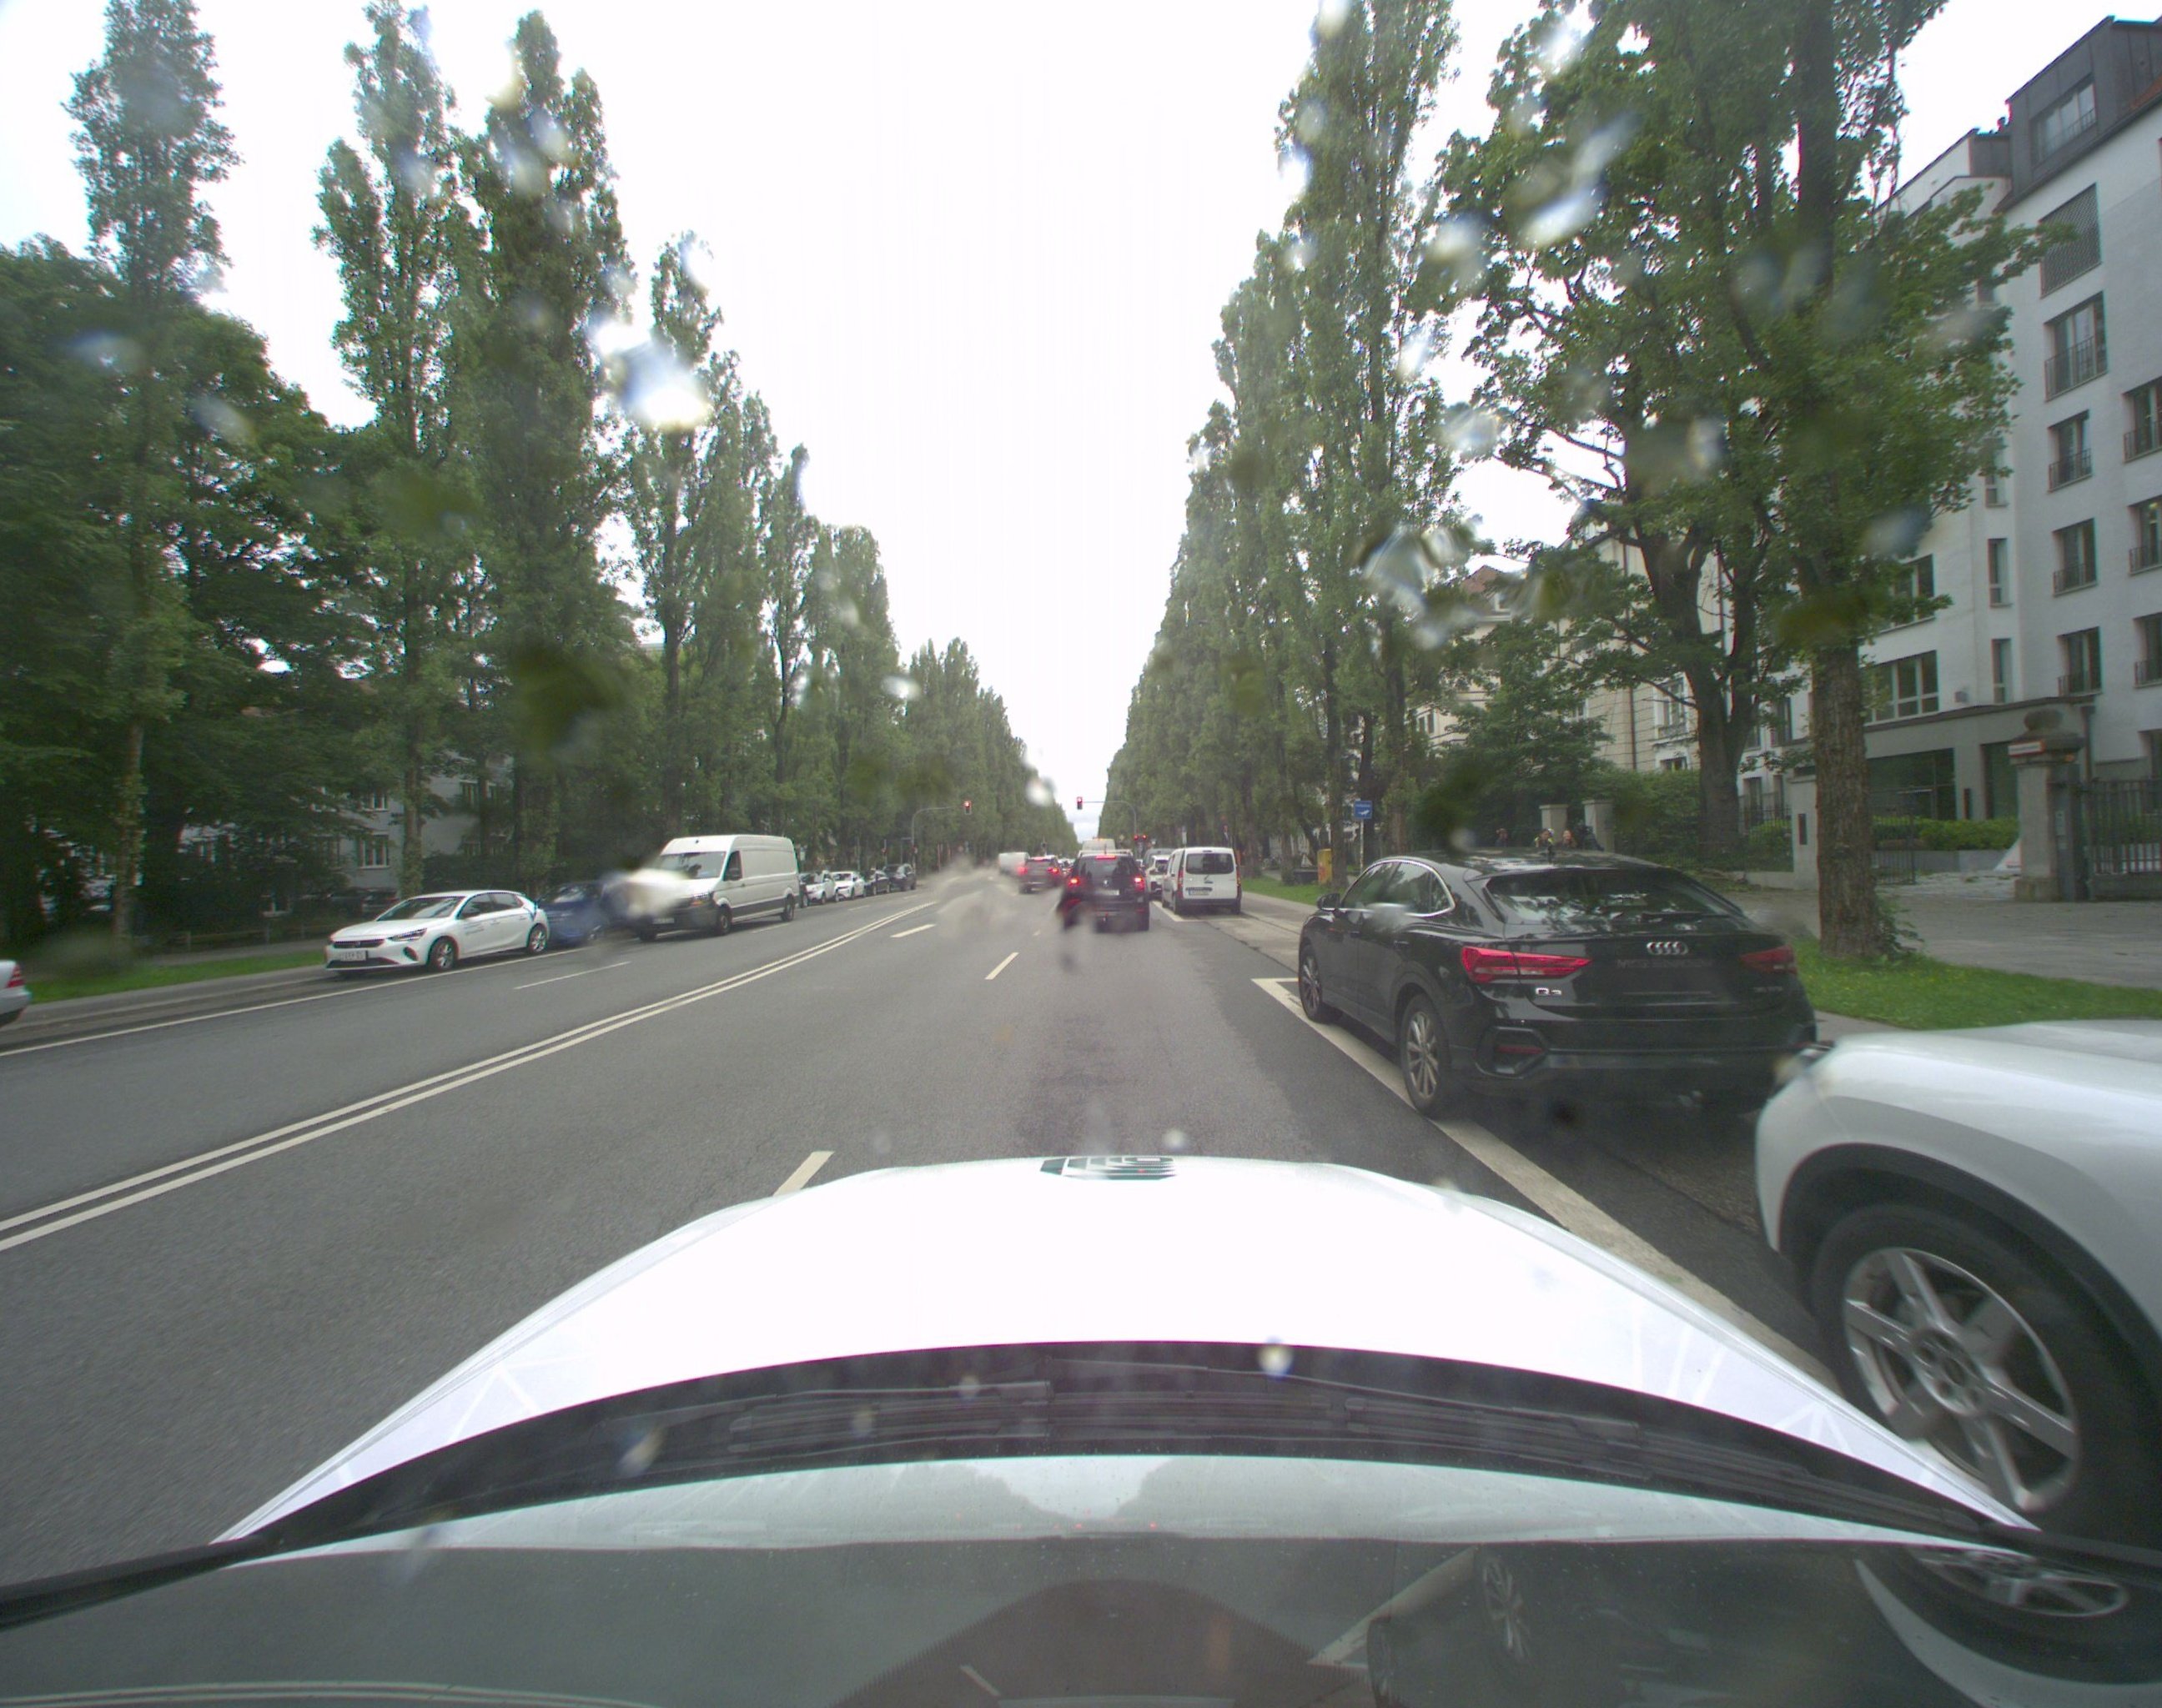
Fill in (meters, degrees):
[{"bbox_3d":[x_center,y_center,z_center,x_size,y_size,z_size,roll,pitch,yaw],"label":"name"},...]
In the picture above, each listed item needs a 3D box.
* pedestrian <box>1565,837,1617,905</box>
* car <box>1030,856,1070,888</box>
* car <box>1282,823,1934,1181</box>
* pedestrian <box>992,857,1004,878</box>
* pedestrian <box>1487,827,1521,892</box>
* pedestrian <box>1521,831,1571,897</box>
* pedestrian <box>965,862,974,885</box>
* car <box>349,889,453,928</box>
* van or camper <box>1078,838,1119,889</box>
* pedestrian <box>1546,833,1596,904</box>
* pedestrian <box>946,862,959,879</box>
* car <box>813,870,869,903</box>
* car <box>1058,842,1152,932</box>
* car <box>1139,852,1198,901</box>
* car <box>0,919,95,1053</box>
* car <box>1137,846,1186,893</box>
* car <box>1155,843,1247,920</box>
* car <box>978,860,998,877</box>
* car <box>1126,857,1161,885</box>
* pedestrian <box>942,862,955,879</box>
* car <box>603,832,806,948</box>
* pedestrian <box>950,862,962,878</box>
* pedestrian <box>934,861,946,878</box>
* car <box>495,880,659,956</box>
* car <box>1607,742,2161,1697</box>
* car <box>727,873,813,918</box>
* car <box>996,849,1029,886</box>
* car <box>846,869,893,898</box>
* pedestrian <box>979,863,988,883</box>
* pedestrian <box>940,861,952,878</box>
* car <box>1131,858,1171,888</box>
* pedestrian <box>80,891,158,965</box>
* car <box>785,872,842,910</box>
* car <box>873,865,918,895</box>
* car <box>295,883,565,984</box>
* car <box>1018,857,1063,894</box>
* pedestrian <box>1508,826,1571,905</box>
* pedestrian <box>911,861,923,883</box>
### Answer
[{"bbox_3d":[14.057,0.447,22.471,0.905,1.800,0.825,-3,2,-20],"label":"pedestrian"},{"bbox_3d":[-1.668,0.944,44.698,1.987,1.560,4.000,-2,0,0],"label":"car"},{"bbox_3d":[2.909,0.662,5.882,1.873,1.540,4.465,-2,0,1],"label":"car"},{"bbox_3d":[-8.242,1.325,80.908,0.881,2.013,1.014,-2,-1,4],"label":"pedestrian"},{"bbox_3d":[12.309,0.159,23.704,0.487,1.862,0.635,-2,-1,-16],"label":"pedestrian"},{"bbox_3d":[12.866,0.278,22.549,0.801,1.782,0.816,-2,-1,-16],"label":"pedestrian"},{"bbox_3d":[-7.890,1.378,57.665,0.526,1.577,0.662,-2,0,1],"label":"pedestrian"},{"bbox_3d":[-35.754,2.829,42.949,1.986,1.772,4.001,-2,0,2],"label":"car"},{"bbox_3d":[0.894,0.470,43.682,1.969,2.548,4.023,-2,0,-1],"label":"van or camper"},{"bbox_3d":[11.238,0.324,18.716,0.566,1.579,0.867,-2,-1,0],"label":"pedestrian"},{"bbox_3d":[-12.934,1.630,82.007,0.887,1.655,0.868,-2,-1,-37],"label":"pedestrian"},{"bbox_3d":[-11.958,1.587,40.752,1.619,1.389,4.163,-4,0,-3],"label":"car"},{"bbox_3d":[0.508,0.662,18.002,1.849,1.770,4.001,0,0,1],"label":"car"},{"bbox_3d":[3.157,0.770,30.076,1.735,1.593,4.212,-2,0,1],"label":"car"},{"bbox_3d":[-12.228,1.474,7.172,1.820,1.334,4.233,-4,0,0],"label":"car"},{"bbox_3d":[3.418,0.634,35.349,1.729,1.895,4.025,-2,0,1],"label":"car"},{"bbox_3d":[3.244,0.701,22.835,1.846,1.881,4.166,-2,0,-1],"label":"car"},{"bbox_3d":[-10.539,1.601,92.498,1.682,1.783,3.775,-2,0,1],"label":"car"},{"bbox_3d":[3.562,0.930,46.725,1.729,1.475,3.563,-2,0,1],"label":"car"},{"bbox_3d":[-13.473,1.649,82.715,0.887,1.655,0.868,-2,-1,-37],"label":"pedestrian"},{"bbox_3d":[-9.690,0.821,21.869,2.221,2.483,6.755,-4,0,-1],"label":"car"},{"bbox_3d":[-12.811,1.651,83.669,0.887,1.655,0.868,-2,-1,-37],"label":"pedestrian"},{"bbox_3d":[-14.643,1.629,84.470,0.875,1.764,0.880,-2,0,10],"label":"pedestrian"},{"bbox_3d":[-12.162,1.486,19.949,1.704,1.451,3.585,-5,0,-1],"label":"car"},{"bbox_3d":[2.726,0.615,0.599,1.737,1.675,4.580,-2,0,1],"label":"car"},{"bbox_3d":[-12.012,1.569,31.710,1.594,1.425,3.853,-5,0,2],"label":"car"},{"bbox_3d":[-4.225,0.825,50.533,1.777,2.111,4.021,-2,0,-2],"label":"car"},{"bbox_3d":[-11.970,1.633,46.309,1.619,1.389,4.164,-4,0,-2],"label":"car"},{"bbox_3d":[-7.334,1.430,61.056,0.515,1.485,0.537,-2,0,1],"label":"pedestrian"},{"bbox_3d":[-13.895,1.584,83.672,0.875,1.764,0.880,-2,0,10],"label":"pedestrian"},{"bbox_3d":[3.480,0.933,41.219,1.729,1.387,3.563,-2,0,1],"label":"car"},{"bbox_3d":[-22.007,1.680,18.652,0.734,1.599,0.881,-1,-1,2],"label":"pedestrian"},{"bbox_3d":[-11.947,1.621,36.493,1.423,1.447,2.966,-5,0,0],"label":"car"},{"bbox_3d":[-11.814,1.644,52.192,1.844,1.654,4.693,-4,0,-2],"label":"car"},{"bbox_3d":[-12.315,1.413,15.851,1.765,1.452,4.232,-4,0,-1],"label":"car"},{"bbox_3d":[-1.815,0.947,37.525,1.775,1.620,4.025,0,0,1],"label":"car"},{"bbox_3d":[10.395,0.252,18.511,0.850,1.717,0.867,-3,-1,0],"label":"pedestrian"},{"bbox_3d":[-11.846,1.293,58.898,0.658,1.577,0.530,-2,-1,1],"label":"pedestrian"}]
